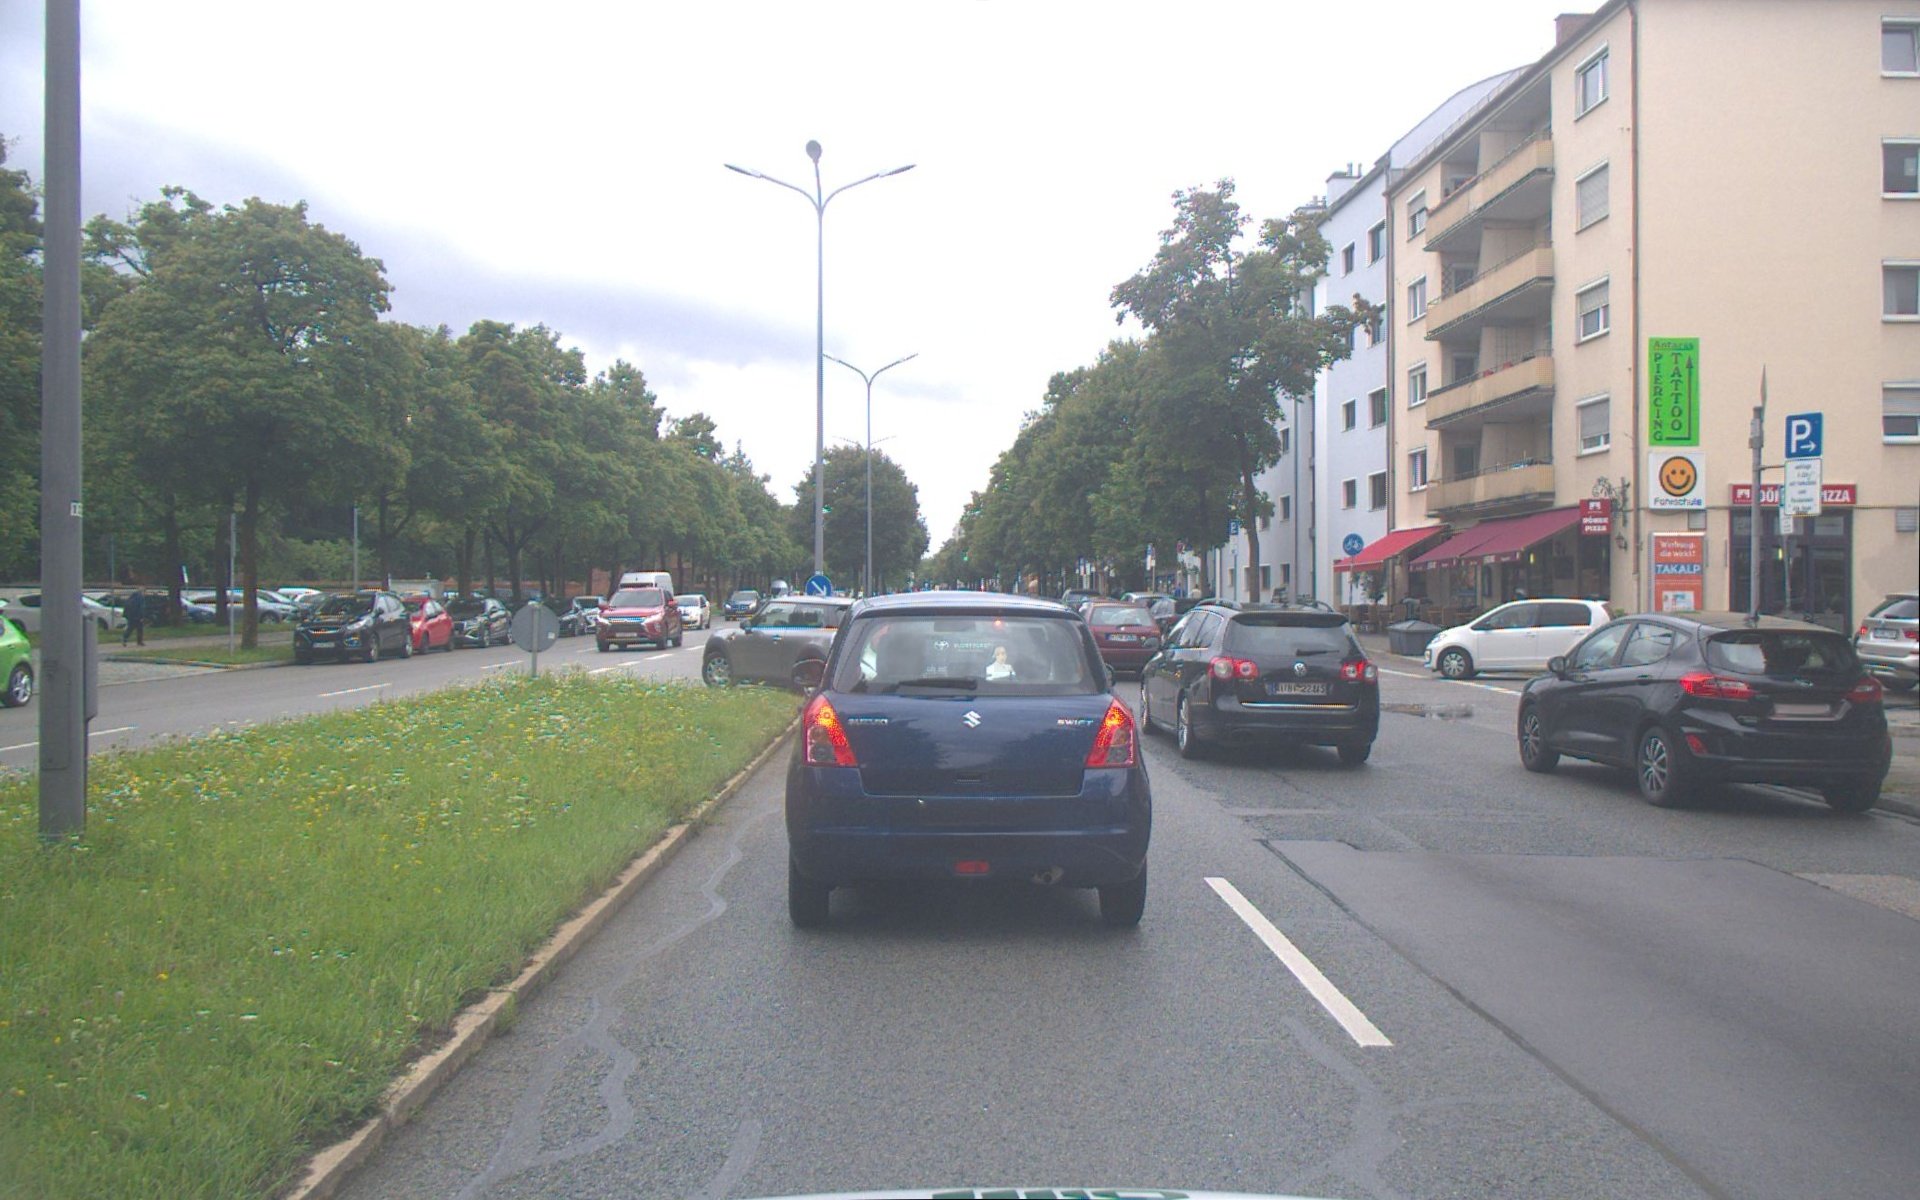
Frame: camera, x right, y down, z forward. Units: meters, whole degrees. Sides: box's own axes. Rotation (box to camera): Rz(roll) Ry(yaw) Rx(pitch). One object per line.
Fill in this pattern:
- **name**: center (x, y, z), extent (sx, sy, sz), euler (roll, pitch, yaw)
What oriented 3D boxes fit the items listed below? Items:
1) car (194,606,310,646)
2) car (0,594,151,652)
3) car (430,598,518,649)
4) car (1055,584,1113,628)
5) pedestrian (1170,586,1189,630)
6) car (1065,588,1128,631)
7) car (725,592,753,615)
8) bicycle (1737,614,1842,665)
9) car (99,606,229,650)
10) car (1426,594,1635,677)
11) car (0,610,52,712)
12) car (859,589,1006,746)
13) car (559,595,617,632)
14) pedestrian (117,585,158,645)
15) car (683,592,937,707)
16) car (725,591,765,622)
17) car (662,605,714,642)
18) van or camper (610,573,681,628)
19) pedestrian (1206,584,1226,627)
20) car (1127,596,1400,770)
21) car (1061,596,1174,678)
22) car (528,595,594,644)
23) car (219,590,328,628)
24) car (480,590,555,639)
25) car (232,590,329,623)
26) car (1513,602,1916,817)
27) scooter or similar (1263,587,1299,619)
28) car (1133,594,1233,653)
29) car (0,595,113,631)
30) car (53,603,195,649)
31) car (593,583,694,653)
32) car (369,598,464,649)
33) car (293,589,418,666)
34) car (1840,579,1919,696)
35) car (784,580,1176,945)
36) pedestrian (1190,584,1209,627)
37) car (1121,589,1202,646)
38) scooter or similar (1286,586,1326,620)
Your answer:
- **car**: center (-27.596, 1.012, 64.561), extent (3.792, 1.471, 1.670), euler (1, 0, -7)
- **car**: center (-27.788, 0.713, 52.001), extent (3.843, 1.748, 1.670), euler (1, 0, -7)
- **car**: center (-14.753, 0.687, 50.383), extent (1.633, 1.471, 3.878), euler (1, 0, -2)
- **car**: center (4.987, 0.202, 67.080), extent (1.828, 1.712, 4.222), euler (-1, 1, -3)
- **pedestrian**: center (10.445, 0.372, 78.630), extent (0.778, 2.049, 1.006), euler (0, 0, -1)
- **car**: center (5.099, 0.340, 62.245), extent (1.828, 1.544, 4.222), euler (-1, 1, -3)
- **car**: center (-16.042, 0.264, 120.230), extent (1.599, 1.610, 3.878), euler (1, 0, -2)
- **bicycle**: center (16.460, 0.778, 32.840), extent (1.810, 0.974, 0.557), euler (1, 0, -2)
- **car**: center (-28.283, 0.982, 58.823), extent (3.792, 1.471, 1.670), euler (1, 0, -7)
- **car**: center (10.536, 0.627, 30.516), extent (3.477, 1.442, 1.871), euler (0, 0, 25)
- **car**: center (-14.466, 0.905, 22.923), extent (1.515, 1.434, 3.880), euler (-2, 0, 1)
- **car**: center (-0.317, 0.639, 17.491), extent (1.415, 1.509, 3.105), euler (0, 0, -2)
- **car**: center (-15.147, 0.547, 67.527), extent (1.599, 1.456, 3.878), euler (1, 0, -2)
- **pedestrian**: center (-21.952, 0.397, 44.158), extent (0.712, 1.561, 0.721), euler (1, 0, -1)
- **car**: center (-2.210, 0.647, 23.725), extent (3.671, 1.488, 1.676), euler (1, 1, 44)
- **car**: center (-12.107, 0.336, 93.454), extent (1.730, 1.651, 4.505), euler (-2, 0, -1)
- **car**: center (-11.392, 0.964, 69.544), extent (1.586, 1.399, 3.837), euler (-2, 0, -1)
- **van or camper**: center (-15.457, 0.021, 81.705), extent (2.073, 2.525, 7.448), euler (1, 0, 0)
- **pedestrian**: center (12.182, 0.268, 78.679), extent (0.778, 2.049, 1.006), euler (0, 0, -1)
- **car**: center (2.875, 0.720, 16.638), extent (1.696, 1.457, 4.440), euler (1, 0, -3)
- **car**: center (2.888, 0.641, 31.018), extent (1.648, 1.408, 3.918), euler (1, 0, -1)
- **car**: center (-14.966, 0.698, 62.195), extent (1.599, 1.771, 3.878), euler (1, 0, -2)
- **car**: center (-28.079, 0.369, 67.722), extent (3.792, 1.471, 1.670), euler (1, 0, -7)
- **car**: center (-14.898, 0.470, 55.820), extent (1.558, 1.585, 3.878), euler (1, 0, -2)
- **car**: center (-31.397, 0.293, 76.531), extent (3.792, 1.471, 1.670), euler (1, 0, -7)
- **car**: center (6.035, 0.789, 13.711), extent (1.584, 1.491, 3.673), euler (2, 0, -1)
- **scooter or similar**: center (13.656, 0.113, 70.475), extent (1.011, 1.330, 2.755), euler (0, 0, 0)
- **car**: center (5.901, 0.587, 44.222), extent (1.829, 1.442, 4.221), euler (-1, 1, -4)
- **car**: center (-39.203, 0.541, 71.157), extent (4.595, 1.471, 1.672), euler (1, 0, -1)
- **car**: center (-27.676, 0.852, 54.841), extent (3.792, 1.471, 1.670), euler (1, 0, -7)
- **car**: center (-8.442, 0.440, 44.490), extent (1.865, 1.726, 4.245), euler (-2, 0, 0)
- **car**: center (-14.930, 0.629, 45.604), extent (1.558, 1.335, 3.379), euler (1, 0, -2)
- **car**: center (-14.677, 0.633, 40.369), extent (1.682, 1.771, 3.878), euler (1, 0, -2)
- **car**: center (16.474, 0.530, 26.070), extent (4.308, 1.689, 1.870), euler (-1, 2, -6)
- **car**: center (0.021, 0.667, 8.924), extent (1.648, 1.528, 3.917), euler (0, 0, -2)
- **pedestrian**: center (11.384, 0.257, 78.616), extent (0.778, 2.049, 1.006), euler (0, 0, -1)
- **car**: center (5.917, 0.469, 48.912), extent (1.755, 1.585, 4.223), euler (-1, 1, -2)
- **scooter or similar**: center (13.920, 0.113, 66.672), extent (1.011, 1.330, 2.755), euler (0, 0, 0)
